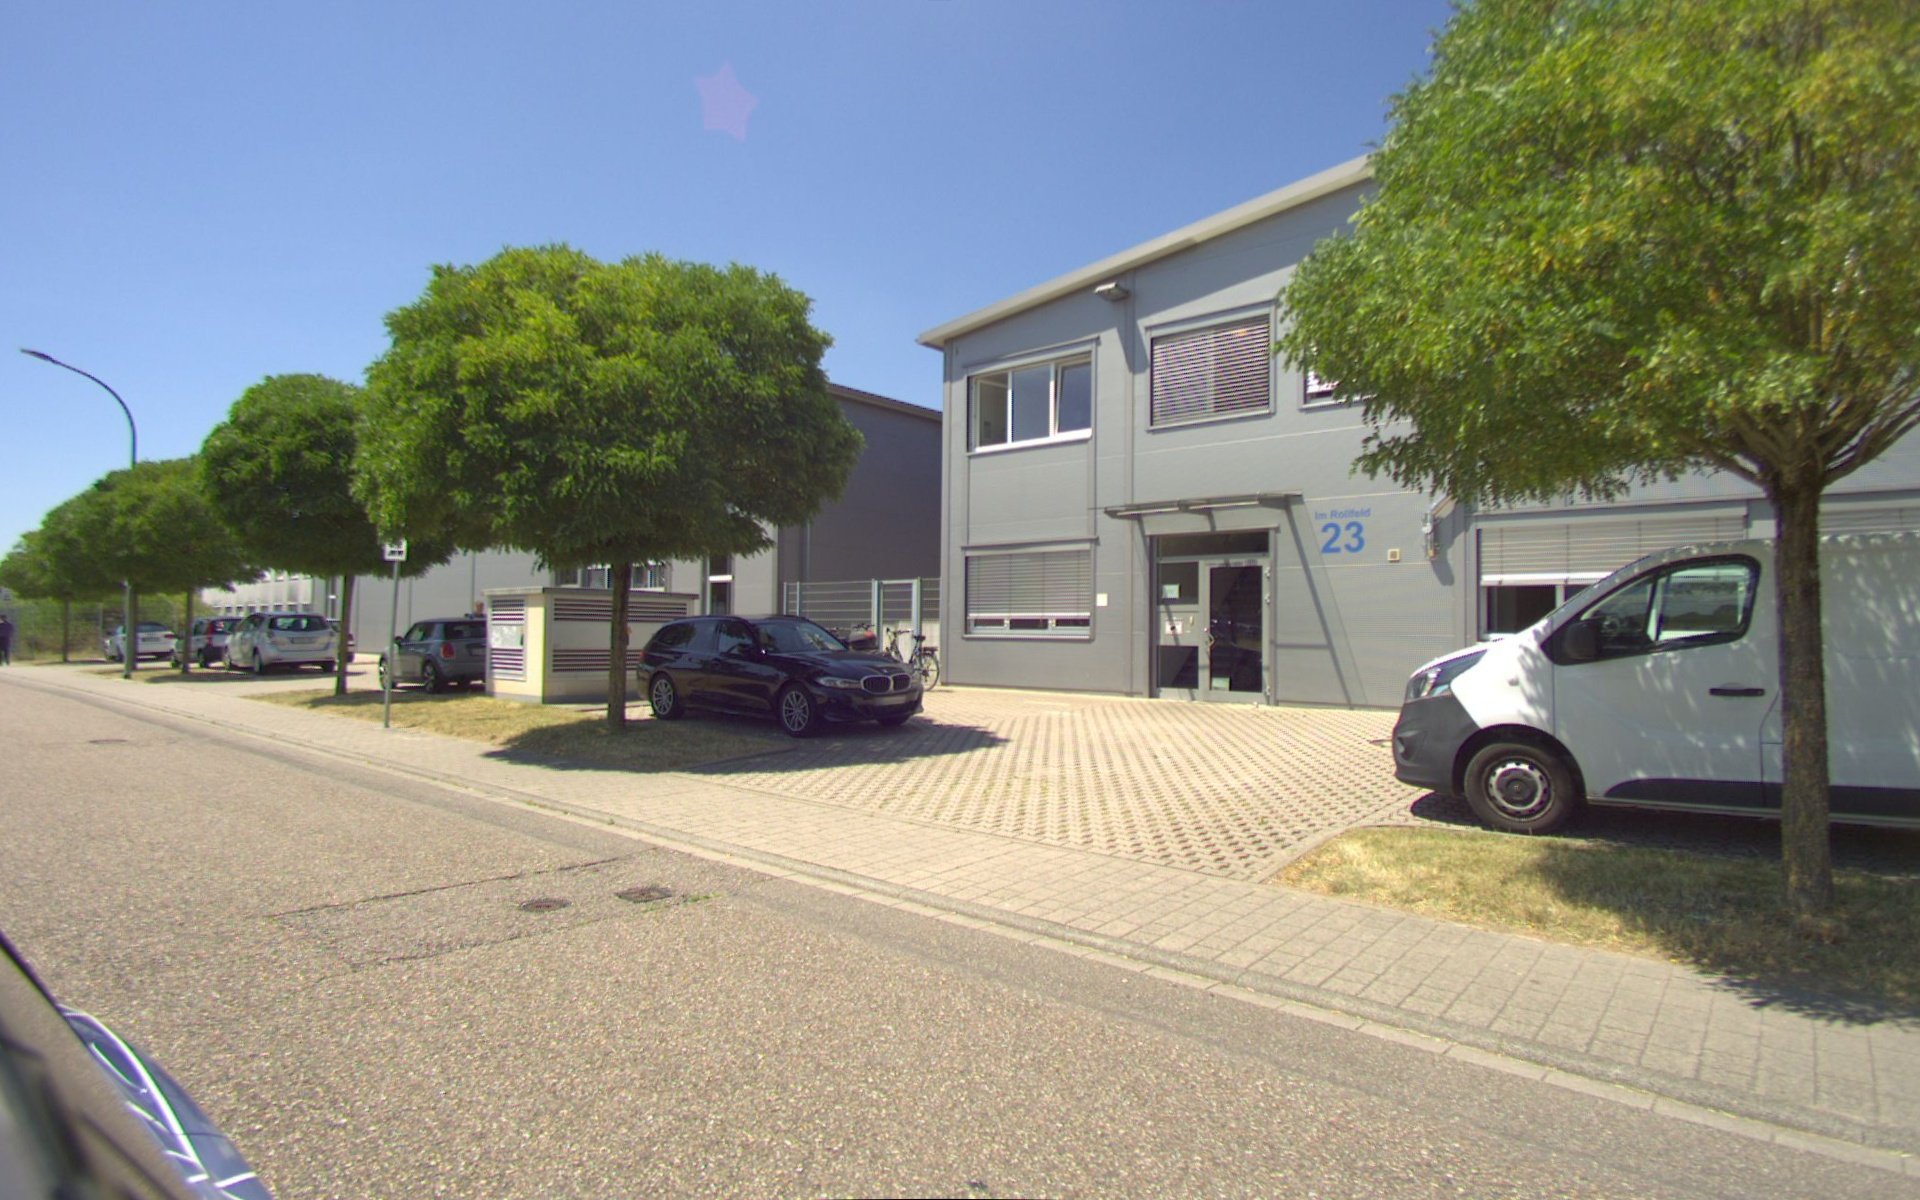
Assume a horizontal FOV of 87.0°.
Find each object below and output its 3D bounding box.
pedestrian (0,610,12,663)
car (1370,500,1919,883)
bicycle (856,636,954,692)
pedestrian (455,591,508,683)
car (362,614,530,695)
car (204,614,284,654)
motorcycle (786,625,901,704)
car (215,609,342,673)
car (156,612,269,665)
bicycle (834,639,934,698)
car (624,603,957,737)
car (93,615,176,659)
[{"bbox_3d":[-33.349,1.265,35.010,1.134,1.815,0.736,-2,-1,42],"label":"pedestrian"},{"bbox_3d":[5.464,0.481,6.242,5.119,2.034,1.819,-1,0,39],"label":"car"},{"bbox_3d":[-1.054,1.168,18.892,2.062,0.985,0.431,-1,-1,40],"label":"bicycle"},{"bbox_3d":[-10.504,0.801,22.254,0.829,1.987,0.967,0,-1,-10],"label":"pedestrian"},{"bbox_3d":[-10.349,1.035,20.264,3.838,1.464,1.747,-1,-1,42],"label":"car"},{"bbox_3d":[-29.233,1.381,41.288,4.258,1.511,1.805,-2,-1,42],"label":"car"},{"bbox_3d":[-1.876,0.992,16.081,2.079,1.171,0.510,-1,-1,39],"label":"motorcycle"},{"bbox_3d":[-18.408,1.072,27.245,4.537,1.585,1.747,-1,-1,41],"label":"car"},{"bbox_3d":[-22.532,1.155,30.478,3.697,1.511,1.667,-2,-2,36],"label":"car"},{"bbox_3d":[-1.405,1.223,18.404,2.062,0.985,0.431,-1,-1,40],"label":"bicycle"},{"bbox_3d":[-2.398,0.818,13.443,4.711,1.464,1.747,-1,0,41],"label":"car"},{"bbox_3d":[-30.899,1.351,37.857,4.327,1.511,1.805,-2,-1,42],"label":"car"}]
